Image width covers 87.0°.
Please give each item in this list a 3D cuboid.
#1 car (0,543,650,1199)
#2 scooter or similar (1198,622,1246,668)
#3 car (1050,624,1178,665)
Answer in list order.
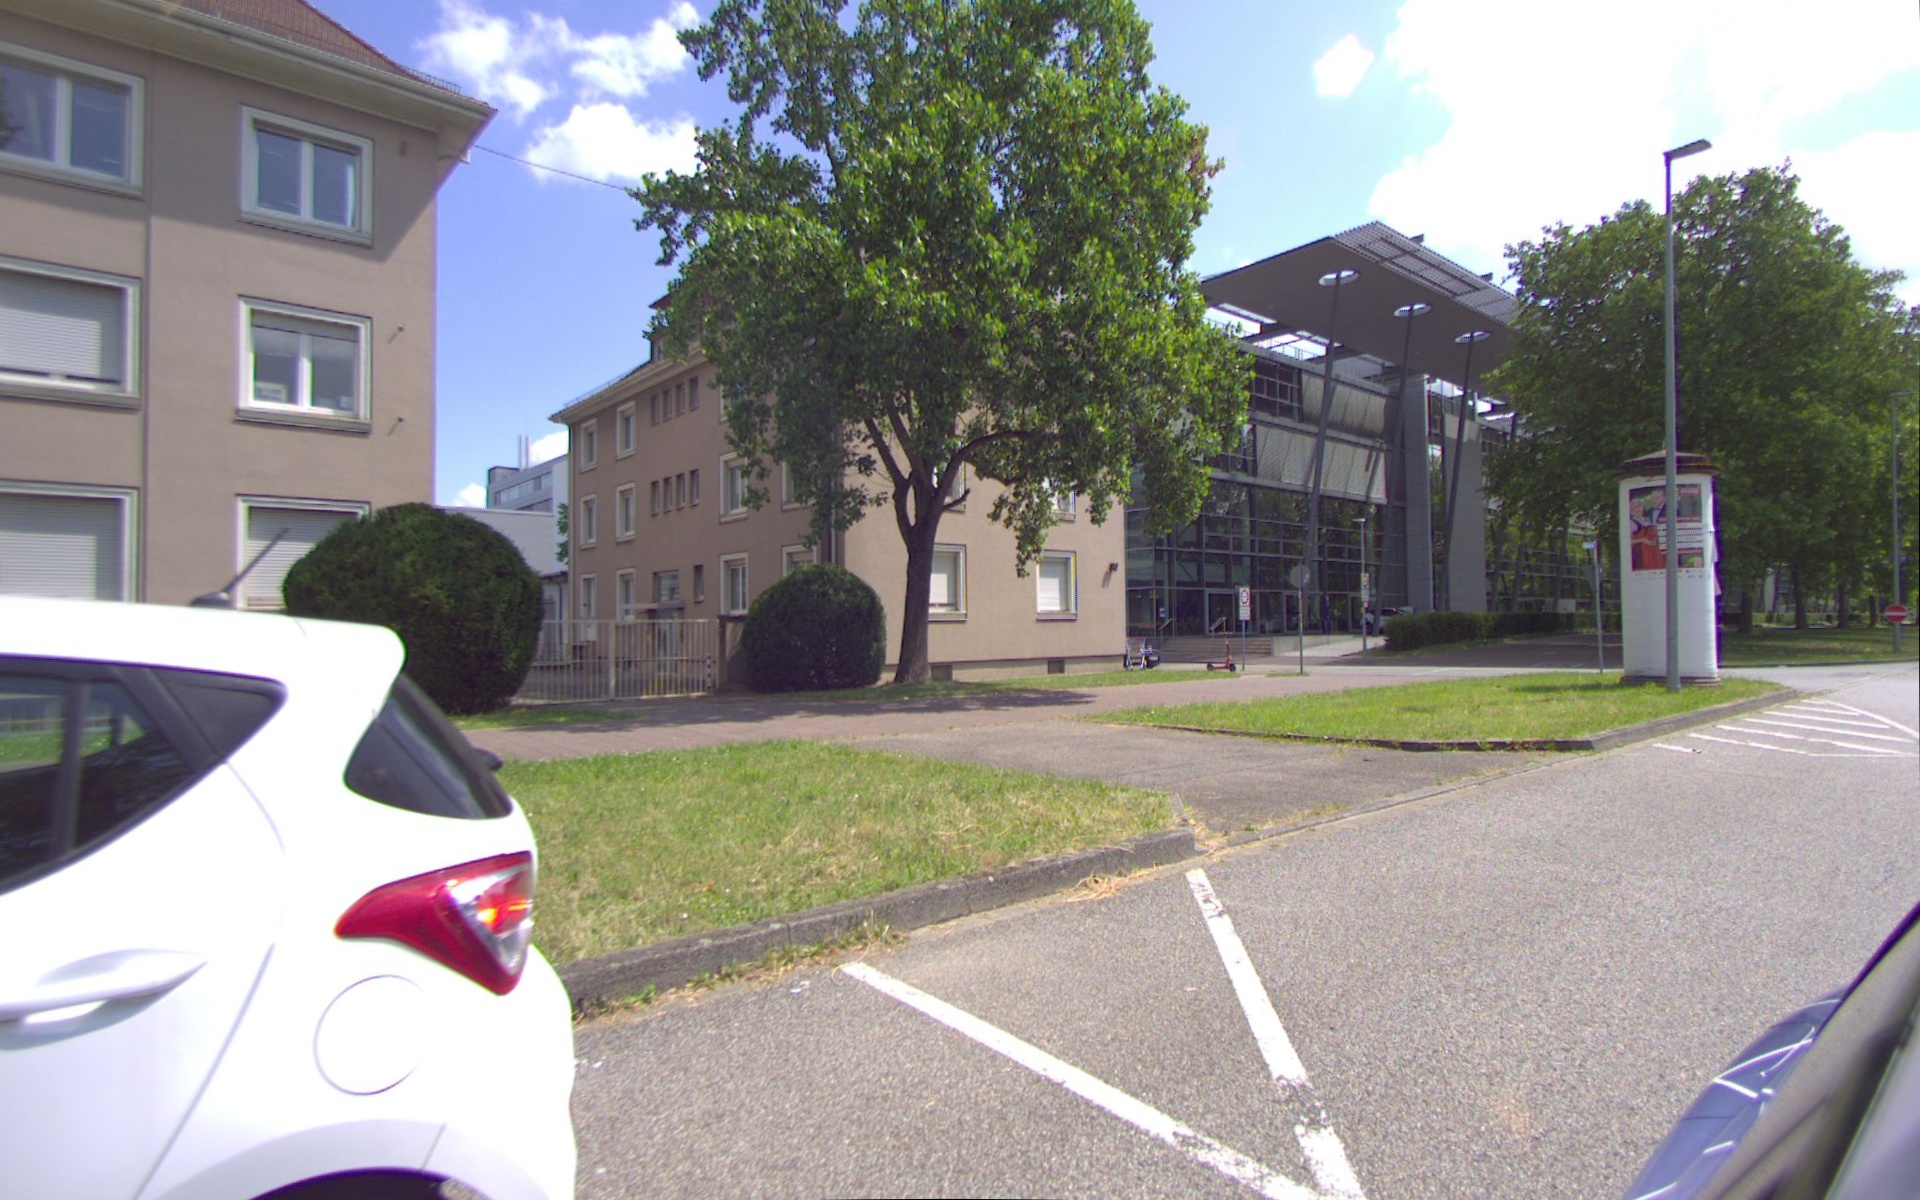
[{"bbox_3d":[-2.535,0.670,1.315,3.721,1.498,1.711,0,0,-39],"label":"car"},{"bbox_3d":[7.722,1.315,29.862,0.536,1.320,1.446,0,-1,-25],"label":"scooter or similar"},{"bbox_3d":[5.600,1.594,37.267,1.966,1.371,4.457,0,-1,-42],"label":"car"}]
